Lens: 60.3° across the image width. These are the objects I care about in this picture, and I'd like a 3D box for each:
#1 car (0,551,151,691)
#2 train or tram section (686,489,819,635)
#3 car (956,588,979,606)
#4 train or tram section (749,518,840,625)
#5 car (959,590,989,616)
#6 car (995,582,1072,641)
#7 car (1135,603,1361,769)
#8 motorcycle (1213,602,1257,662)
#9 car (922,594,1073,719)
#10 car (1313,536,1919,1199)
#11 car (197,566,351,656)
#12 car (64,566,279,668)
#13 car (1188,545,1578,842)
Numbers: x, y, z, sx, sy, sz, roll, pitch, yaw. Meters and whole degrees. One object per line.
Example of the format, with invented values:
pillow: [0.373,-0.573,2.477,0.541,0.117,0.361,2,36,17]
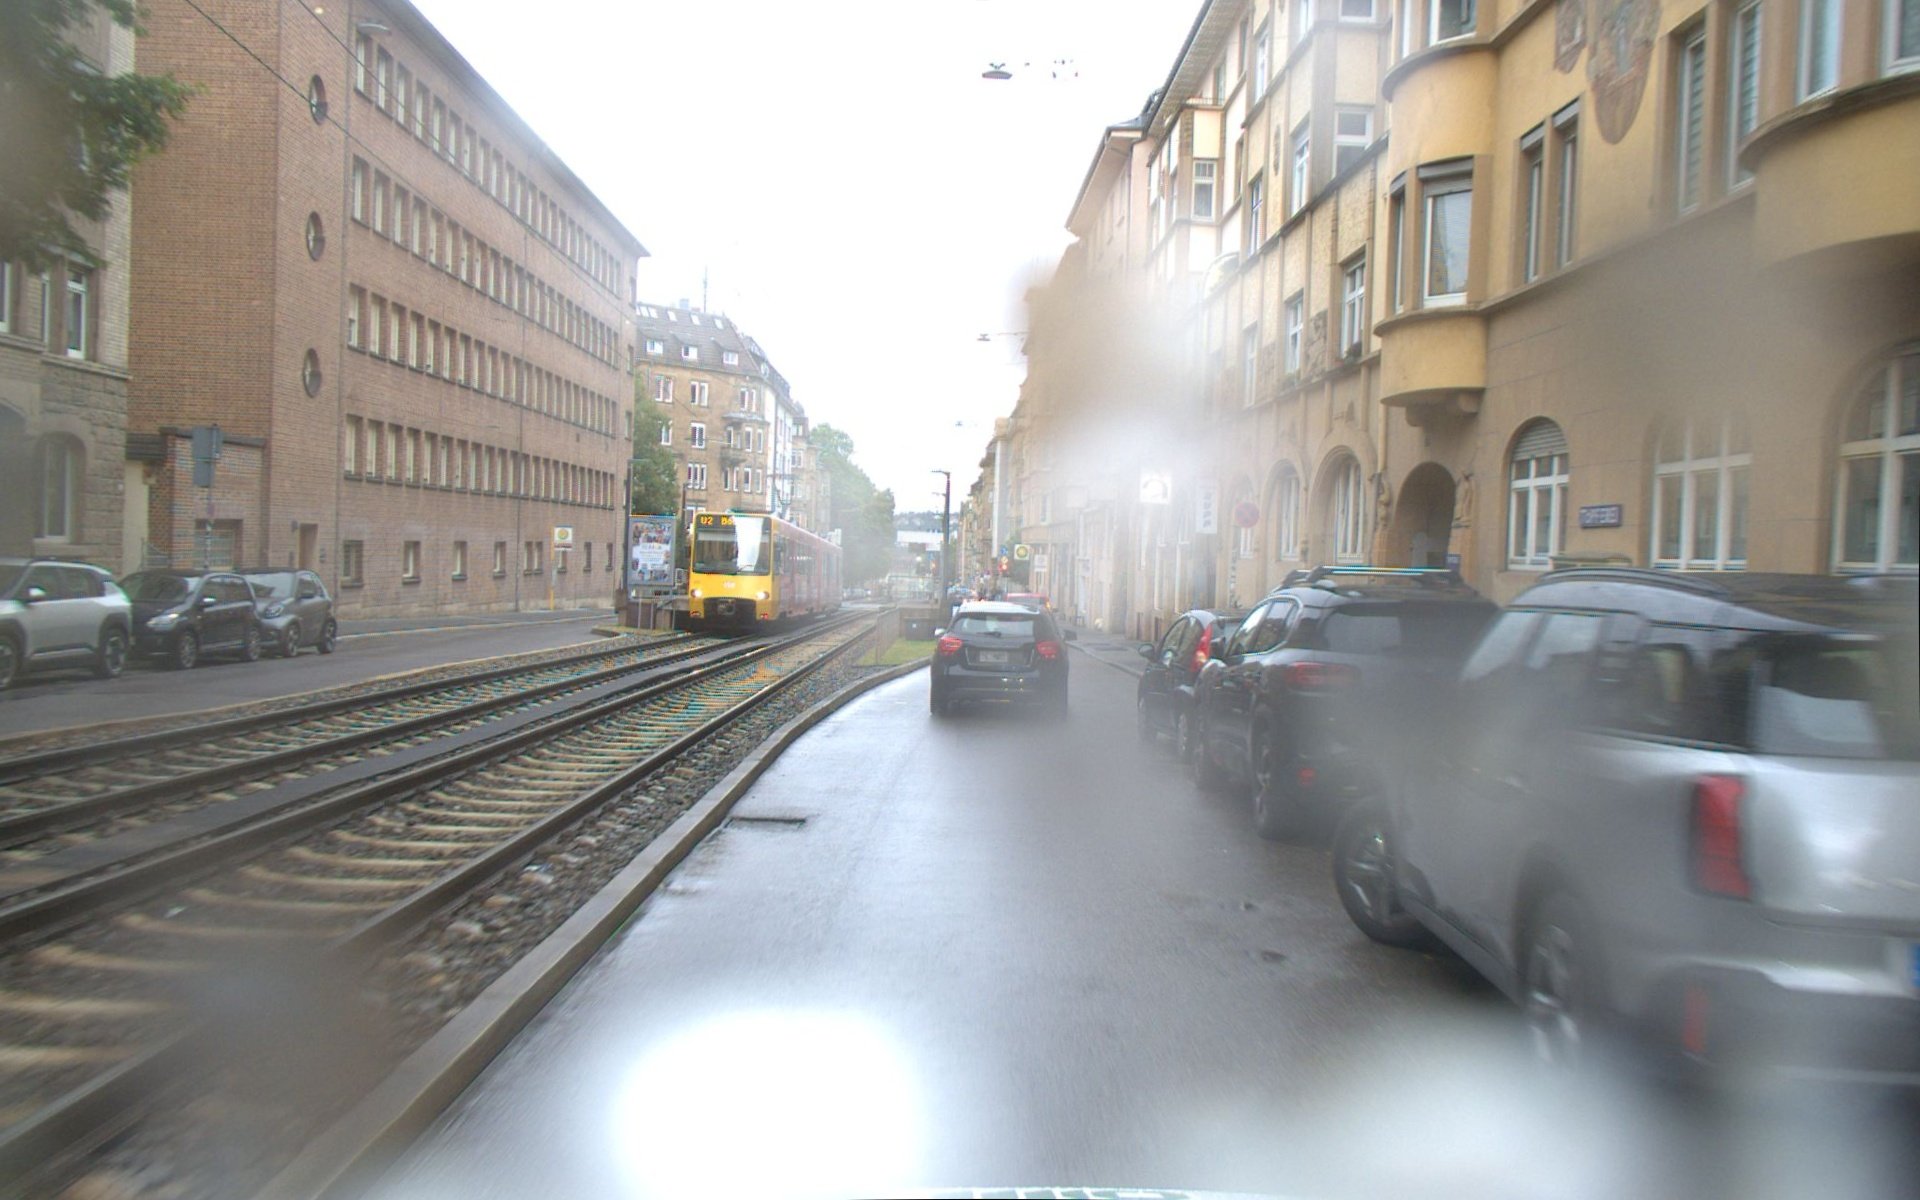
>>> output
car: [-12.271,0.198,20.998,1.921,1.633,4.327,2,1,-2]
train or tram section: [-6.685,-1.148,56.078,2.690,4.132,17.209,1,0,-1]
car: [0.678,-0.289,156.074,2.091,1.552,4.245,2,0,-1]
train or tram section: [-7.015,-1.180,72.271,2.690,4.132,15.657,1,0,-1]
car: [0.916,0.193,105.107,1.848,1.552,4.246,2,0,1]
car: [2.064,0.310,47.663,1.953,1.552,4.245,2,0,-1]
car: [2.844,0.806,16.958,1.560,1.465,3.308,3,-1,-3]
motorcycle: [5.847,0.655,35.244,0.545,1.180,2.269,-3,0,1]
car: [0.441,0.684,21.961,1.797,1.478,3.901,1,0,-1]
car: [2.700,0.700,6.281,1.803,1.636,4.761,1,0,1]
car: [-12.294,0.171,29.821,1.540,1.492,3.044,2,0,-2]
car: [-12.297,0.233,26.056,1.633,1.440,3.687,2,1,-1]
car: [2.892,0.587,12.343,1.742,1.780,4.548,1,0,0]
